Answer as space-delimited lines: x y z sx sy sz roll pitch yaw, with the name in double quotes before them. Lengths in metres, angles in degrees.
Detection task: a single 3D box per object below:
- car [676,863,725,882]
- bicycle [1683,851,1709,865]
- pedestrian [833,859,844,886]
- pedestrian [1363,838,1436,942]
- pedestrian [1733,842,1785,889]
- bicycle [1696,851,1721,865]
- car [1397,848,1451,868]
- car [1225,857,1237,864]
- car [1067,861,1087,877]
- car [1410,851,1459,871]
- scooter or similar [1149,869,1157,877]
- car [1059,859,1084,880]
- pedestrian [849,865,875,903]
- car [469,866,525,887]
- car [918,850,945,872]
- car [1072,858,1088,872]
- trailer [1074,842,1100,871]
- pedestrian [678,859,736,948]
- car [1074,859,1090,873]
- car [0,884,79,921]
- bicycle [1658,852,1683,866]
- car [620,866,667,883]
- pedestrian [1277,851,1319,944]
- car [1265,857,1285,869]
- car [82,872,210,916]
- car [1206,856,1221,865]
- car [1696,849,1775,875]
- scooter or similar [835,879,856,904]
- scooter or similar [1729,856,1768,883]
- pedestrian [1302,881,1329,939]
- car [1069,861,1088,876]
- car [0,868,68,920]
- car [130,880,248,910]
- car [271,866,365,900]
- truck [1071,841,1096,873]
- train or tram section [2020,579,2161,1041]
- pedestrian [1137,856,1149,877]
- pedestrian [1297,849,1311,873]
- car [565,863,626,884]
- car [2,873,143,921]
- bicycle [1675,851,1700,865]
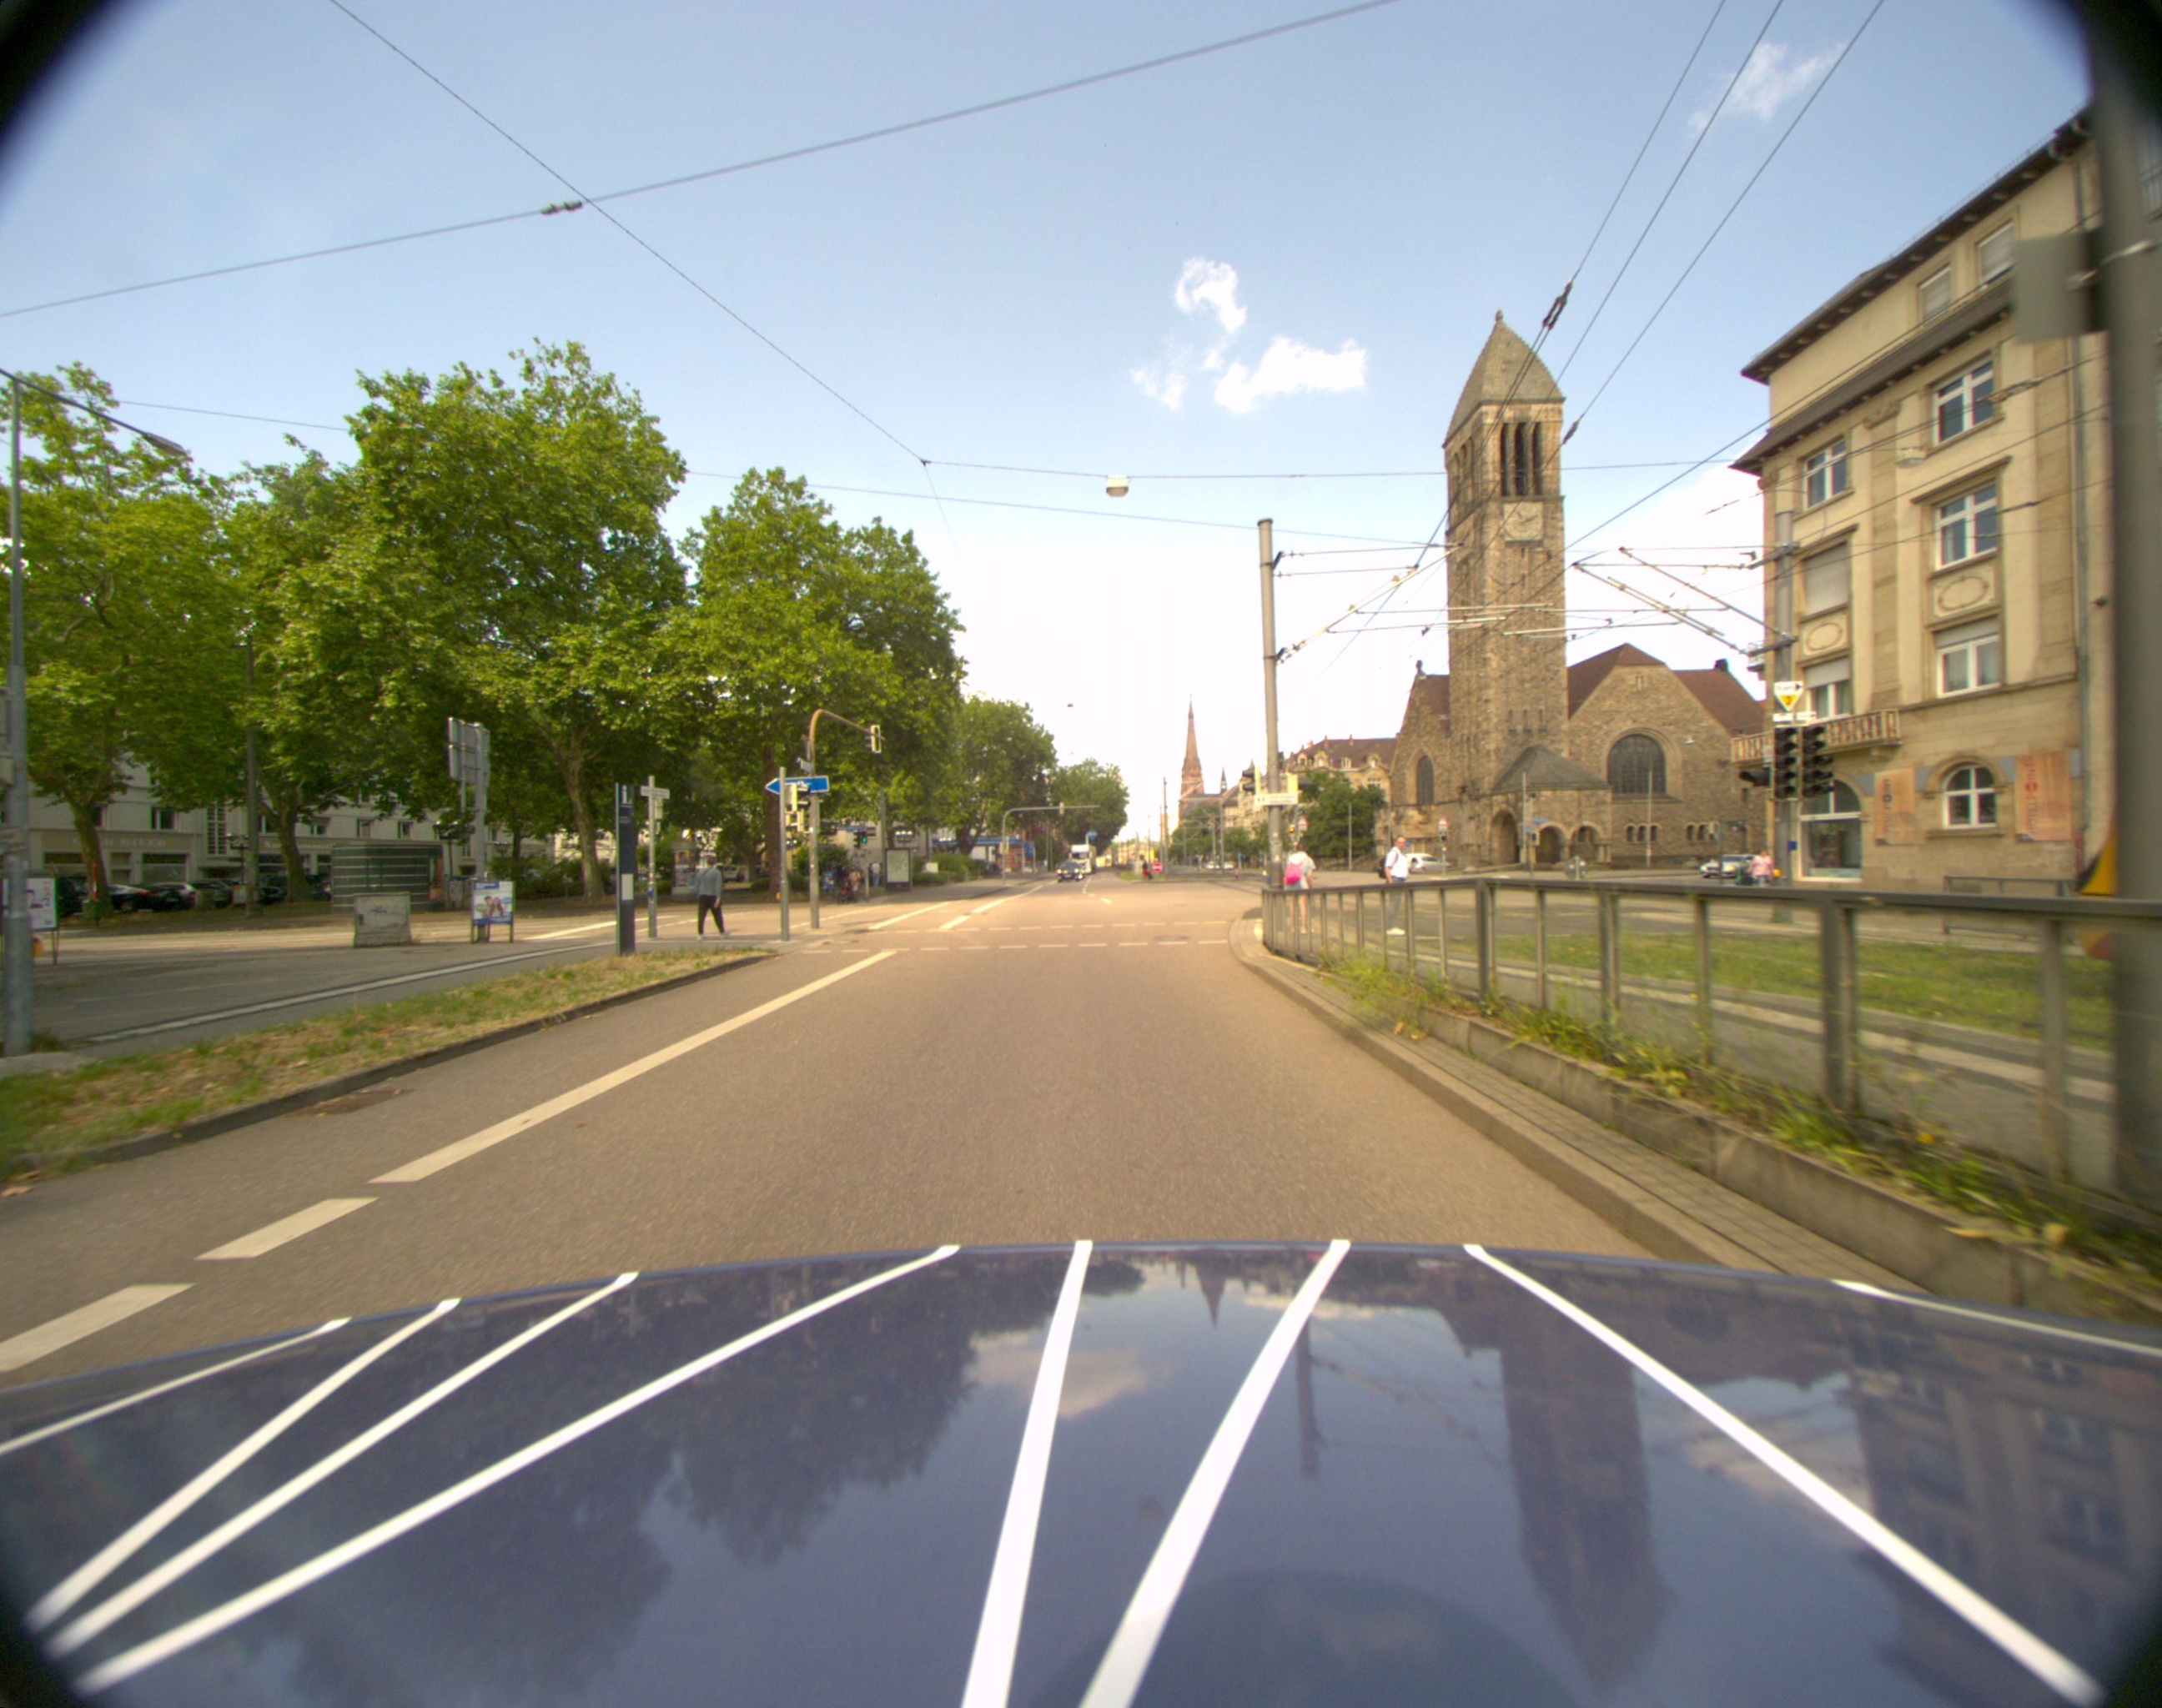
"car" -38.258 1.825 76.417 3.996 1.789 1.870 -1 0 3
"bicycle" 53.918 0.351 66.643 0.586 1.106 1.938 -1 3 -2
"pedestrian" -15.989 1.228 50.074 0.606 1.740 0.697 -1 0 -22
"pedestrian" 5.617 0.619 13.459 0.850 1.770 1.045 -1 0 1
"pedestrian" 23.912 0.397 26.805 0.997 1.584 0.943 -1 -4 -22
"bicycle" 54.914 0.330 66.515 0.586 1.106 1.938 -1 3 -2
"car" 32.897 0.390 72.923 4.302 1.842 2.001 0 -1 1
"car" 27.788 1.267 140.921 1.654 1.226 3.064 -1 -1 2
"car" -0.386 1.462 74.445 1.733 1.457 4.328 -1 0 2
"car" 32.303 0.648 69.513 3.635 1.668 1.819 1 -2 -2
"scooter or similar" 5.290 1.392 56.144 0.521 0.532 0.310 1 0 -11
"car" -0.794 1.295 65.242 1.853 1.716 4.420 -1 0 3
"pedestrian" -9.564 1.293 33.209 0.568 1.636 0.925 -1 0 42
"car" -57.565 2.227 74.919 3.996 1.952 2.000 -1 0 3
"car" -17.090 0.785 86.946 2.111 2.406 4.001 -1 0 2
"car" -0.156 1.424 97.243 1.853 1.695 4.135 -1 0 3
"trailer" 0.982 0.357 111.758 2.914 4.054 11.654 -1 0 4
"pedestrian" -7.691 0.986 15.660 0.694 1.773 0.887 -1 0 3
"car" 0.104 1.407 87.128 1.685 1.554 3.753 -1 0 2
"car" -43.213 1.980 30.737 3.067 1.381 1.469 -1 0 -7
"bicycle" 51.627 0.399 66.557 0.586 1.106 1.938 -1 3 -2
"car" -46.446 2.134 80.695 3.996 1.652 1.754 -1 0 3
"pedestrian" 3.996 0.781 13.968 0.624 1.656 0.677 -1 0 25
"car" 26.680 1.260 104.492 1.788 1.486 3.838 -1 -1 2
"car" -46.909 1.979 38.187 3.996 2.064 2.000 -1 0 2
"car" 22.259 1.090 127.526 1.819 1.497 4.132 -1 -1 2
"car" 39.772 0.453 46.198 4.391 1.440 1.824 -1 1 -22
"scooter or similar" -10.104 1.590 32.604 0.489 1.050 0.710 -1 0 42
"scooter or similar" 29.362 0.696 33.424 0.481 1.139 1.253 -2 -2 -5
"pedestrian" 4.372 1.035 14.144 0.419 1.057 0.437 -1 0 25
"car" -0.269 1.526 81.093 1.853 1.438 3.974 -1 0 3
"car" -47.334 1.740 32.914 4.253 2.170 2.000 -1 0 2
"car" -47.506 2.157 40.526 3.996 1.413 2.000 -1 0 2
"car" -48.188 1.799 48.043 3.996 2.002 2.000 -1 0 3
"truck" 0.403 0.394 104.179 2.914 4.125 6.593 -1 0 4
"train or tram section" 9.649 -0.392 0.215 2.814 3.563 13.017 -1 0 1
"pedestrian" 4.566 0.925 55.840 0.776 1.483 0.658 0 0 -11
"pedestrian" 16.115 0.494 54.966 0.771 1.721 0.744 -1 0 1
"car" -46.516 1.886 72.914 4.486 1.894 2.105 -1 0 3
"car" -47.335 1.985 35.715 3.996 2.064 2.000 -1 0 2
"bicycle" 53.201 0.366 66.633 0.586 1.106 1.938 -1 3 -2
